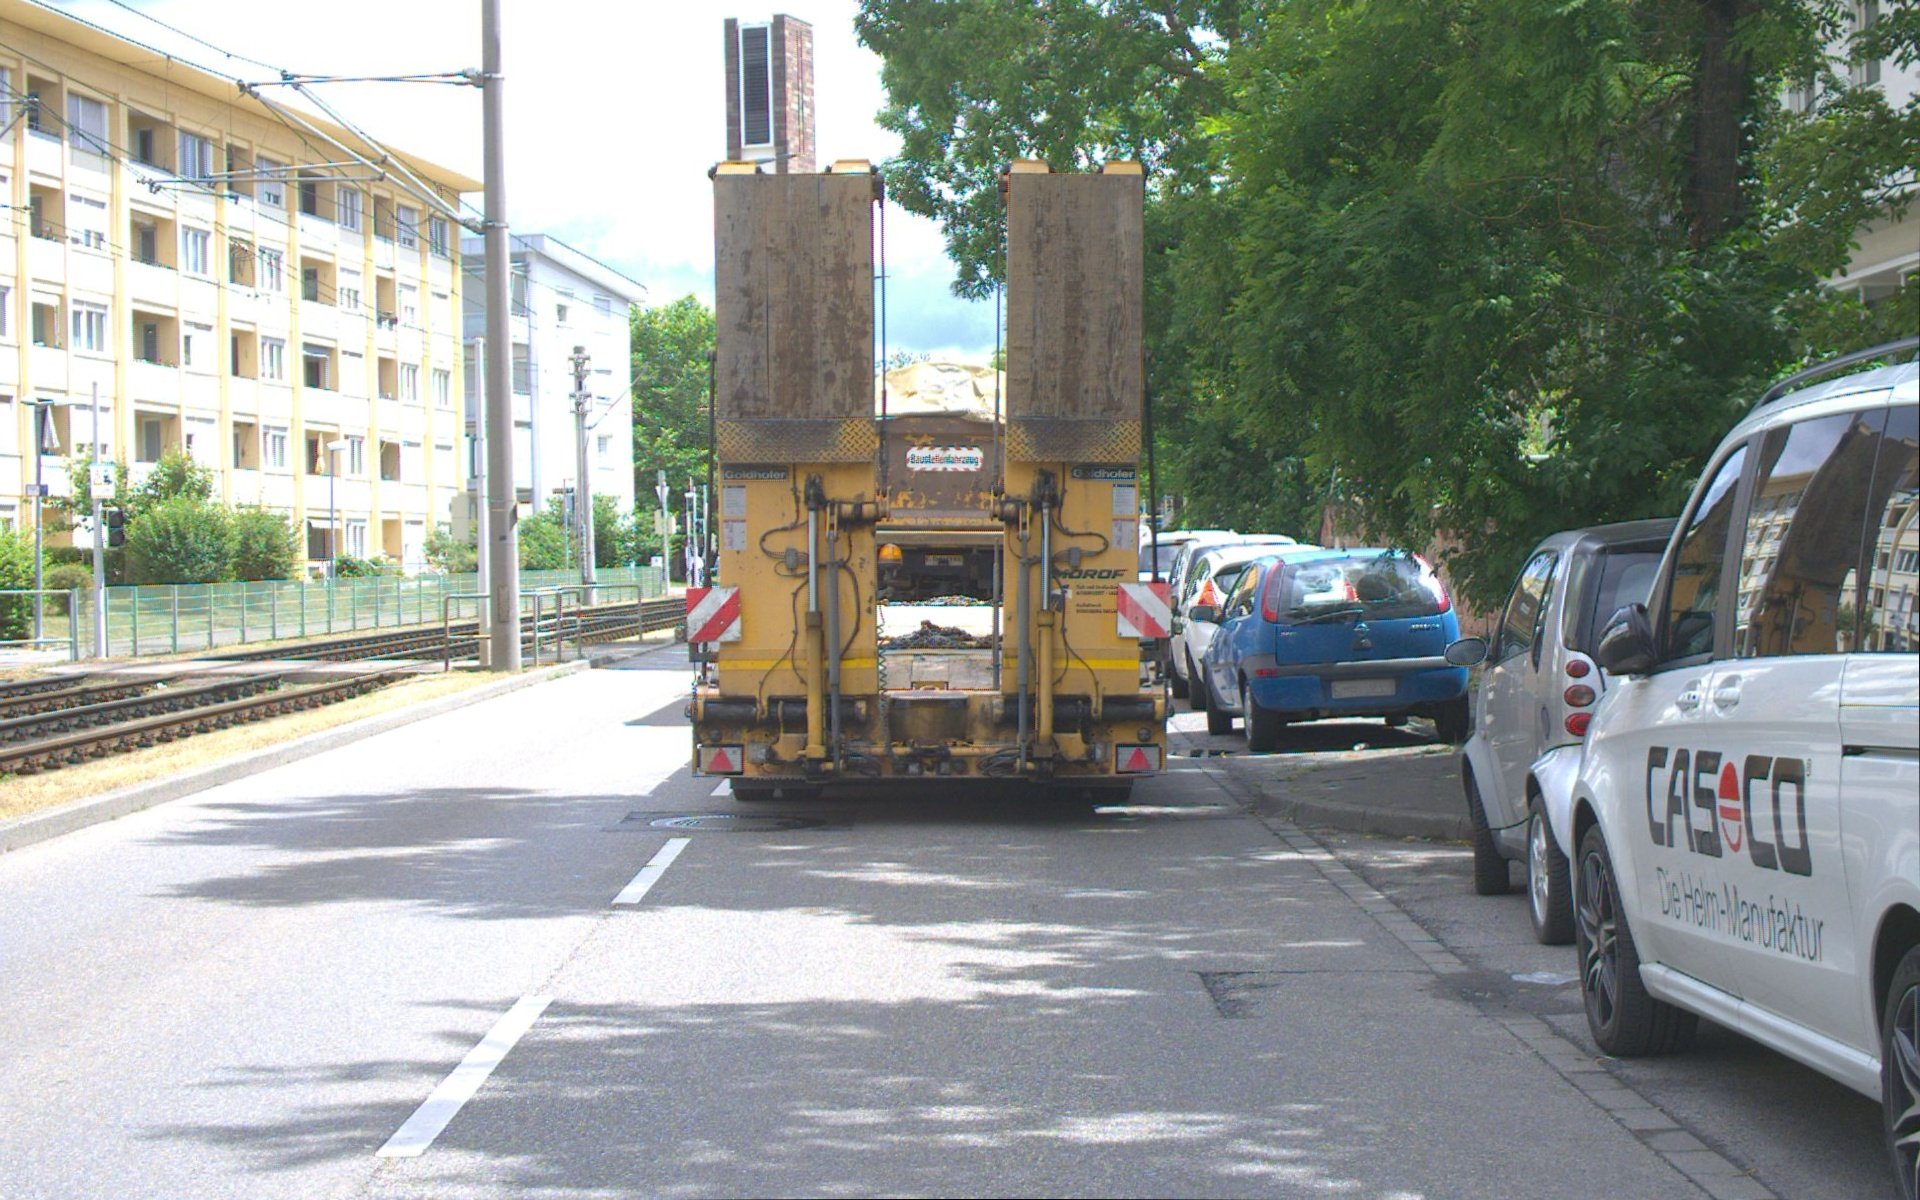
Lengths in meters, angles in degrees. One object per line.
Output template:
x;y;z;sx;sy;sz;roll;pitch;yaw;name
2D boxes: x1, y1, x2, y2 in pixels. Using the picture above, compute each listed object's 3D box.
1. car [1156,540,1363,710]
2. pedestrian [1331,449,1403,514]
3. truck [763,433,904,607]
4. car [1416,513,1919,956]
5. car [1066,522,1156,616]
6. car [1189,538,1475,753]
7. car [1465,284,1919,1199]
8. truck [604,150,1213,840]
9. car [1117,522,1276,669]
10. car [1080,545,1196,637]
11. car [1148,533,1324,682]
2.791;0.192;32.745;1.645;1.484;3.822;-1;1;0;car
5.053;-1.472;42.708;0.795;0.787;0.705;-1;1;0;pedestrian
-2.665;-1.728;74.115;2.698;3.568;6.145;0;1;1;truck
2.815;0.452;13.739;1.513;1.528;2.847;-2;1;-1;car
3.291;-0.711;75.771;1.799;1.961;4.590;-2;1;1;car
2.754;0.286;26.138;1.608;1.451;3.676;-2;1;-2;car
2.748;0.307;8.658;1.914;1.952;5.745;-2;1;-1;car
-0.460;-0.687;24.087;3.124;3.552;12.461;-1;1;-2;truck
2.877;-0.100;42.503;1.824;1.676;4.575;-1;1;3;car
2.951;-0.180;57.718;1.836;1.400;4.413;-2;1;2;car
2.996;0.045;37.883;1.581;1.547;3.475;-1;1;-1;car
